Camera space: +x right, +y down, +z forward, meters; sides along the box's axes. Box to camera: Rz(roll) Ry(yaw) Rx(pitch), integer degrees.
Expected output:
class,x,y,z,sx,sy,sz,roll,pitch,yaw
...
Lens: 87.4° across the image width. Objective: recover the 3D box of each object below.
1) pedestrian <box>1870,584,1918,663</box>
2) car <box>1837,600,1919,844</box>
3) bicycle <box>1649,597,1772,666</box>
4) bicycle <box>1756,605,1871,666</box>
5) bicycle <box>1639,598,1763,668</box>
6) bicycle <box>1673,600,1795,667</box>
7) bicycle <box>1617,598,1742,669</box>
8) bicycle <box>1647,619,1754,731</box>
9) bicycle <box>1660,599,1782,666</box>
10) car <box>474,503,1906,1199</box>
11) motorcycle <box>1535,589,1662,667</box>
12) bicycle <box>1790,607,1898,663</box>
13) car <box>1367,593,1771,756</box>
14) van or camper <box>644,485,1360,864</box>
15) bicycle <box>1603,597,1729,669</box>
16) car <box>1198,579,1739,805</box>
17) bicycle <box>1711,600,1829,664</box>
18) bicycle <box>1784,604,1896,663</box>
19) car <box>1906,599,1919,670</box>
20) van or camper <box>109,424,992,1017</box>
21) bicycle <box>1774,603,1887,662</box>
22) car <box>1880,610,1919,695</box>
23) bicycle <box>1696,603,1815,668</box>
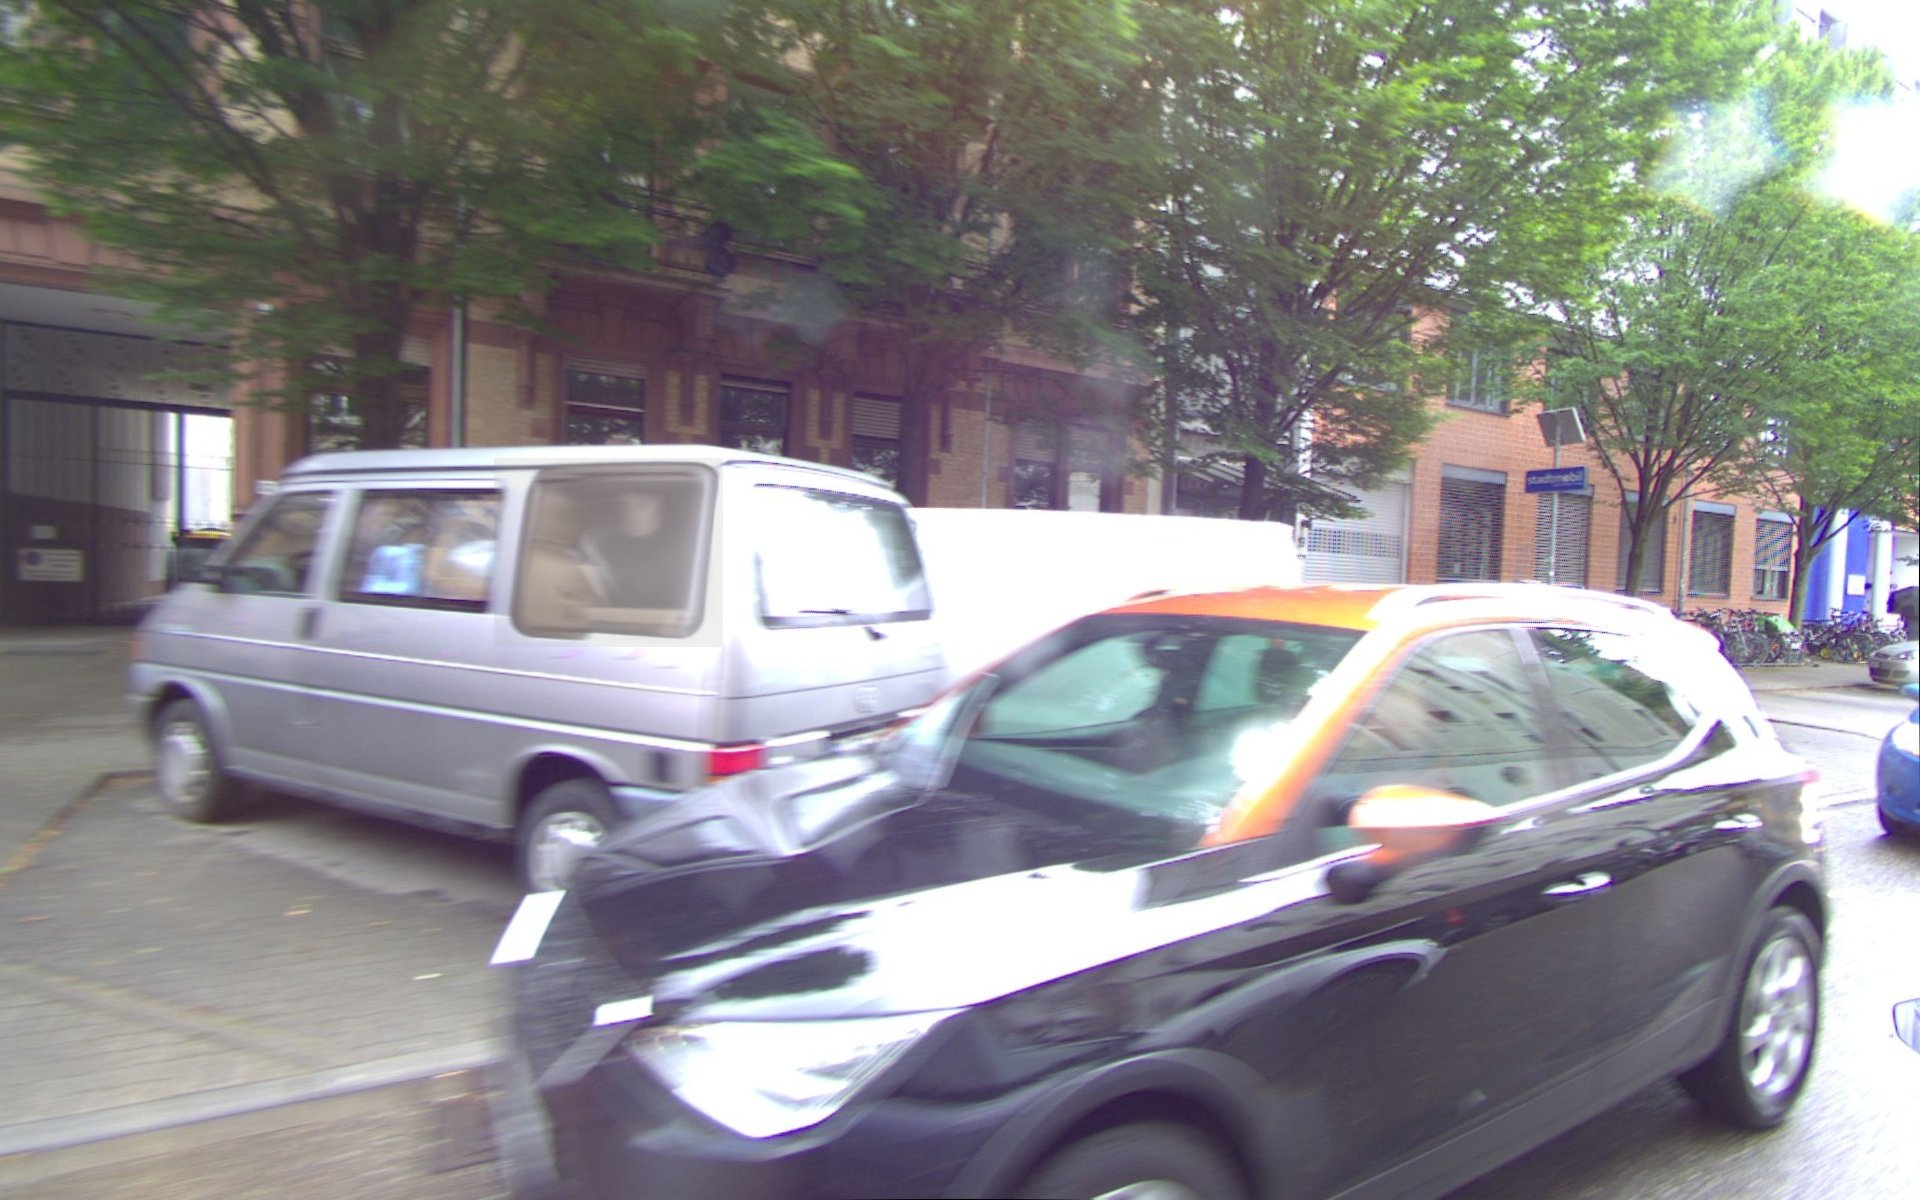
class,x,y,z,sx,sy,sz,roll,pitch,yaw
pedestrian,20.945,0.525,22.535,0.428,1.730,0.608,3,1,-29
car,7.824,0.813,6.814,3.957,1.485,1.661,2,1,-31
bicycle,15.658,0.634,21.014,0.547,1.168,1.885,1,6,-31
bicycle,20.111,0.822,23.715,0.547,1.168,1.885,1,6,-31
bicycle,15.227,0.655,20.700,0.547,1.168,1.885,1,6,-31
bicycle,16.543,0.690,21.516,0.547,1.168,1.885,1,6,-31
bicycle,14.512,0.659,20.311,0.547,1.168,1.885,1,6,-31
bicycle,9.252,0.876,12.509,0.740,1.173,2.206,4,4,44
bicycle,16.113,0.663,21.329,0.547,1.168,1.885,1,6,-31
car,0.899,0.699,2.875,3.959,1.580,1.660,1,1,-32
motorcycle,12.137,0.511,19.167,0.648,1.242,1.875,1,6,-26
bicycle,22.681,0.875,25.811,0.547,1.168,1.885,1,6,-31
car,6.336,0.707,10.885,3.411,1.455,1.651,2,1,18
van or camper,0.354,0.290,7.413,4.605,1.979,2.336,4,4,19
bicycle,14.053,0.629,20.059,0.547,1.168,1.885,1,6,-31
car,4.290,0.670,9.086,3.901,1.466,1.767,4,3,21
bicycle,18.186,0.699,22.608,0.547,1.168,1.885,1,6,-31
bicycle,21.533,0.804,24.620,0.547,1.168,1.885,1,6,-31
car,22.727,0.975,20.452,4.443,1.559,2.334,7,3,28
van or camper,-2.240,0.234,5.189,4.367,2.002,1.779,5,3,28
bicycle,20.950,0.767,24.222,0.547,1.168,1.885,1,6,-31
car,18.661,0.968,17.395,3.644,1.471,1.684,2,1,26
bicycle,17.636,0.759,22.323,0.547,1.168,1.885,1,6,-31
